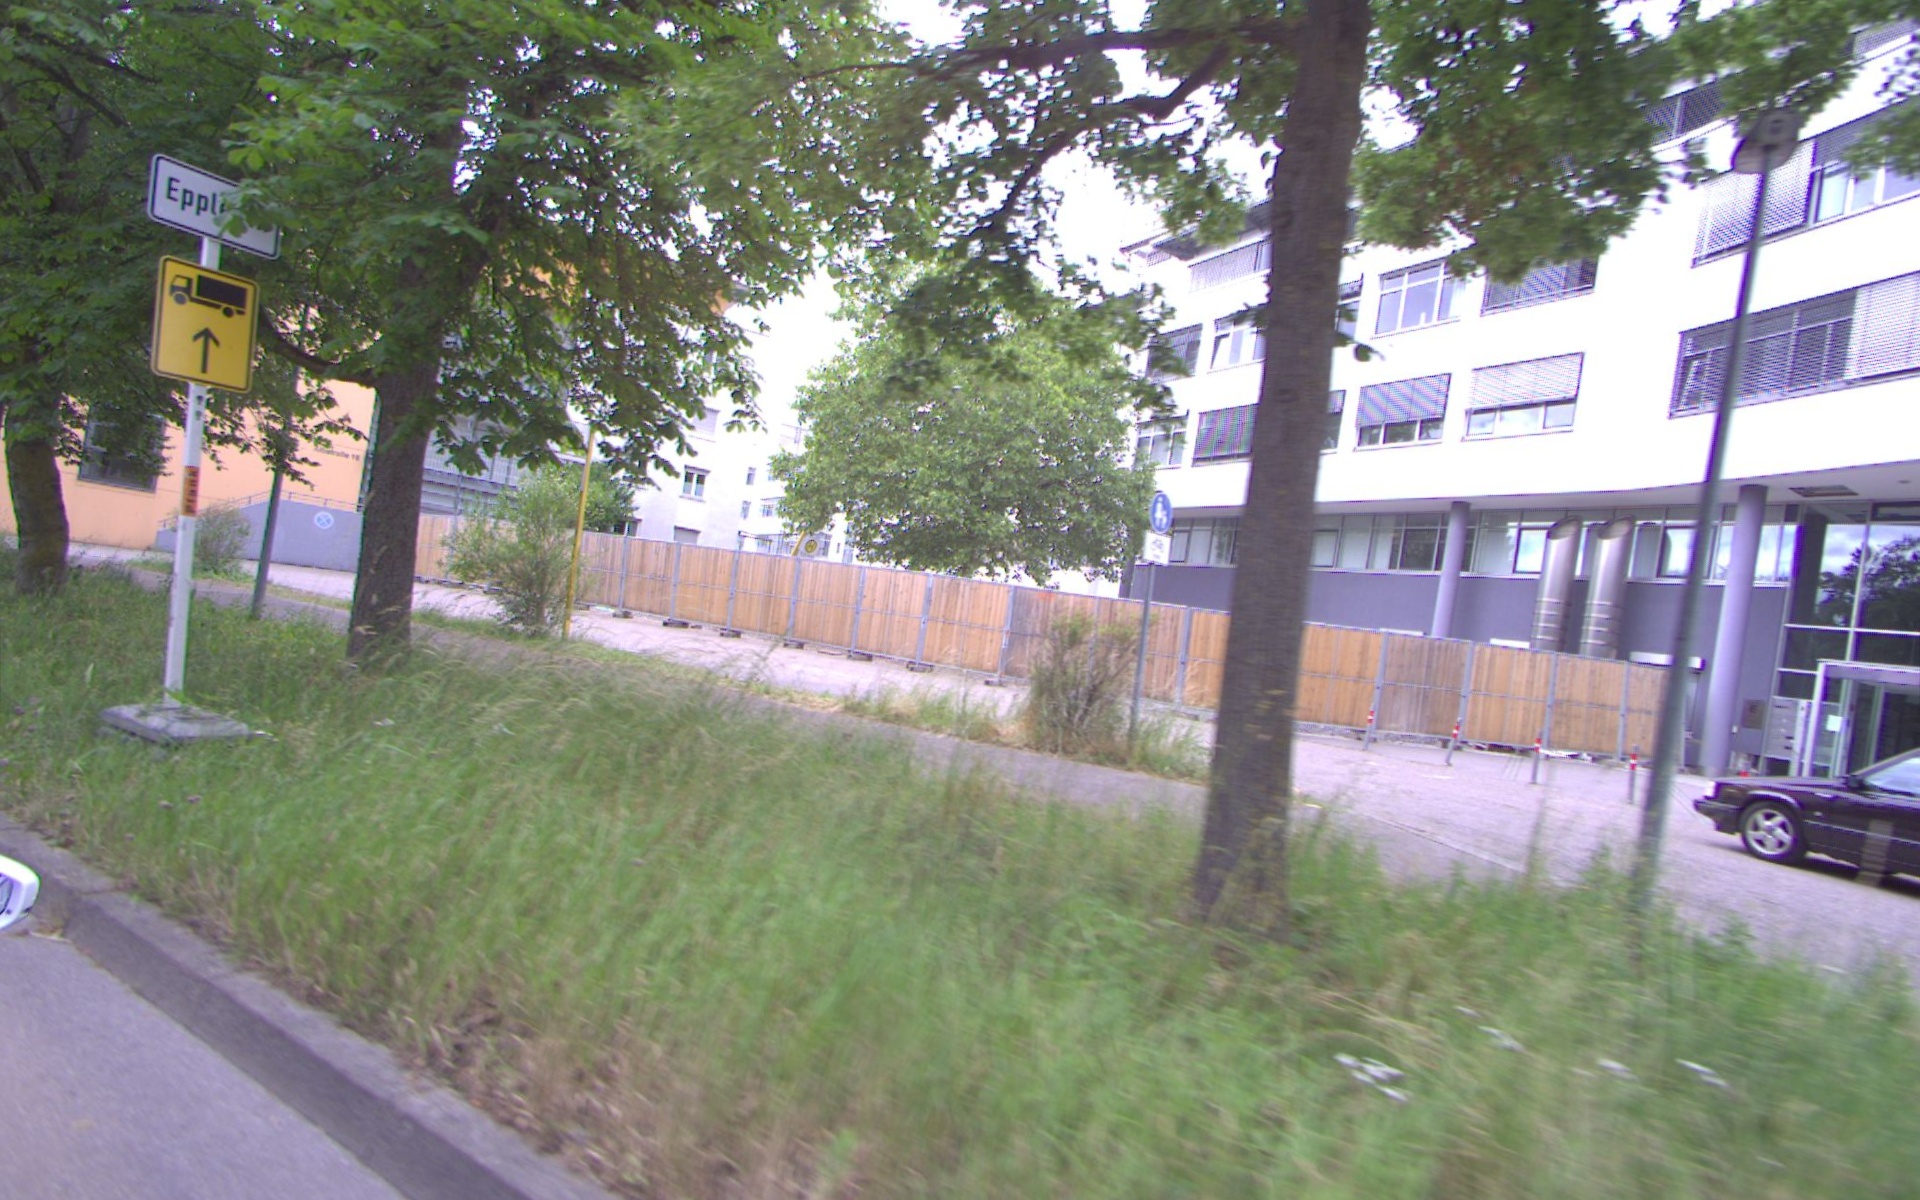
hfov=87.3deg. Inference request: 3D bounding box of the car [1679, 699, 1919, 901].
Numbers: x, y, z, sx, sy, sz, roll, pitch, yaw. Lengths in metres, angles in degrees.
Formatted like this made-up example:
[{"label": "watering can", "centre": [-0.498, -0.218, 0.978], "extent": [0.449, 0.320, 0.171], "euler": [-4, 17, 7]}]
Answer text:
[{"label": "car", "centre": [9.412, 2.002, 8.976], "extent": [1.841, 1.535, 4.731], "euler": [7, -1, -12]}]
